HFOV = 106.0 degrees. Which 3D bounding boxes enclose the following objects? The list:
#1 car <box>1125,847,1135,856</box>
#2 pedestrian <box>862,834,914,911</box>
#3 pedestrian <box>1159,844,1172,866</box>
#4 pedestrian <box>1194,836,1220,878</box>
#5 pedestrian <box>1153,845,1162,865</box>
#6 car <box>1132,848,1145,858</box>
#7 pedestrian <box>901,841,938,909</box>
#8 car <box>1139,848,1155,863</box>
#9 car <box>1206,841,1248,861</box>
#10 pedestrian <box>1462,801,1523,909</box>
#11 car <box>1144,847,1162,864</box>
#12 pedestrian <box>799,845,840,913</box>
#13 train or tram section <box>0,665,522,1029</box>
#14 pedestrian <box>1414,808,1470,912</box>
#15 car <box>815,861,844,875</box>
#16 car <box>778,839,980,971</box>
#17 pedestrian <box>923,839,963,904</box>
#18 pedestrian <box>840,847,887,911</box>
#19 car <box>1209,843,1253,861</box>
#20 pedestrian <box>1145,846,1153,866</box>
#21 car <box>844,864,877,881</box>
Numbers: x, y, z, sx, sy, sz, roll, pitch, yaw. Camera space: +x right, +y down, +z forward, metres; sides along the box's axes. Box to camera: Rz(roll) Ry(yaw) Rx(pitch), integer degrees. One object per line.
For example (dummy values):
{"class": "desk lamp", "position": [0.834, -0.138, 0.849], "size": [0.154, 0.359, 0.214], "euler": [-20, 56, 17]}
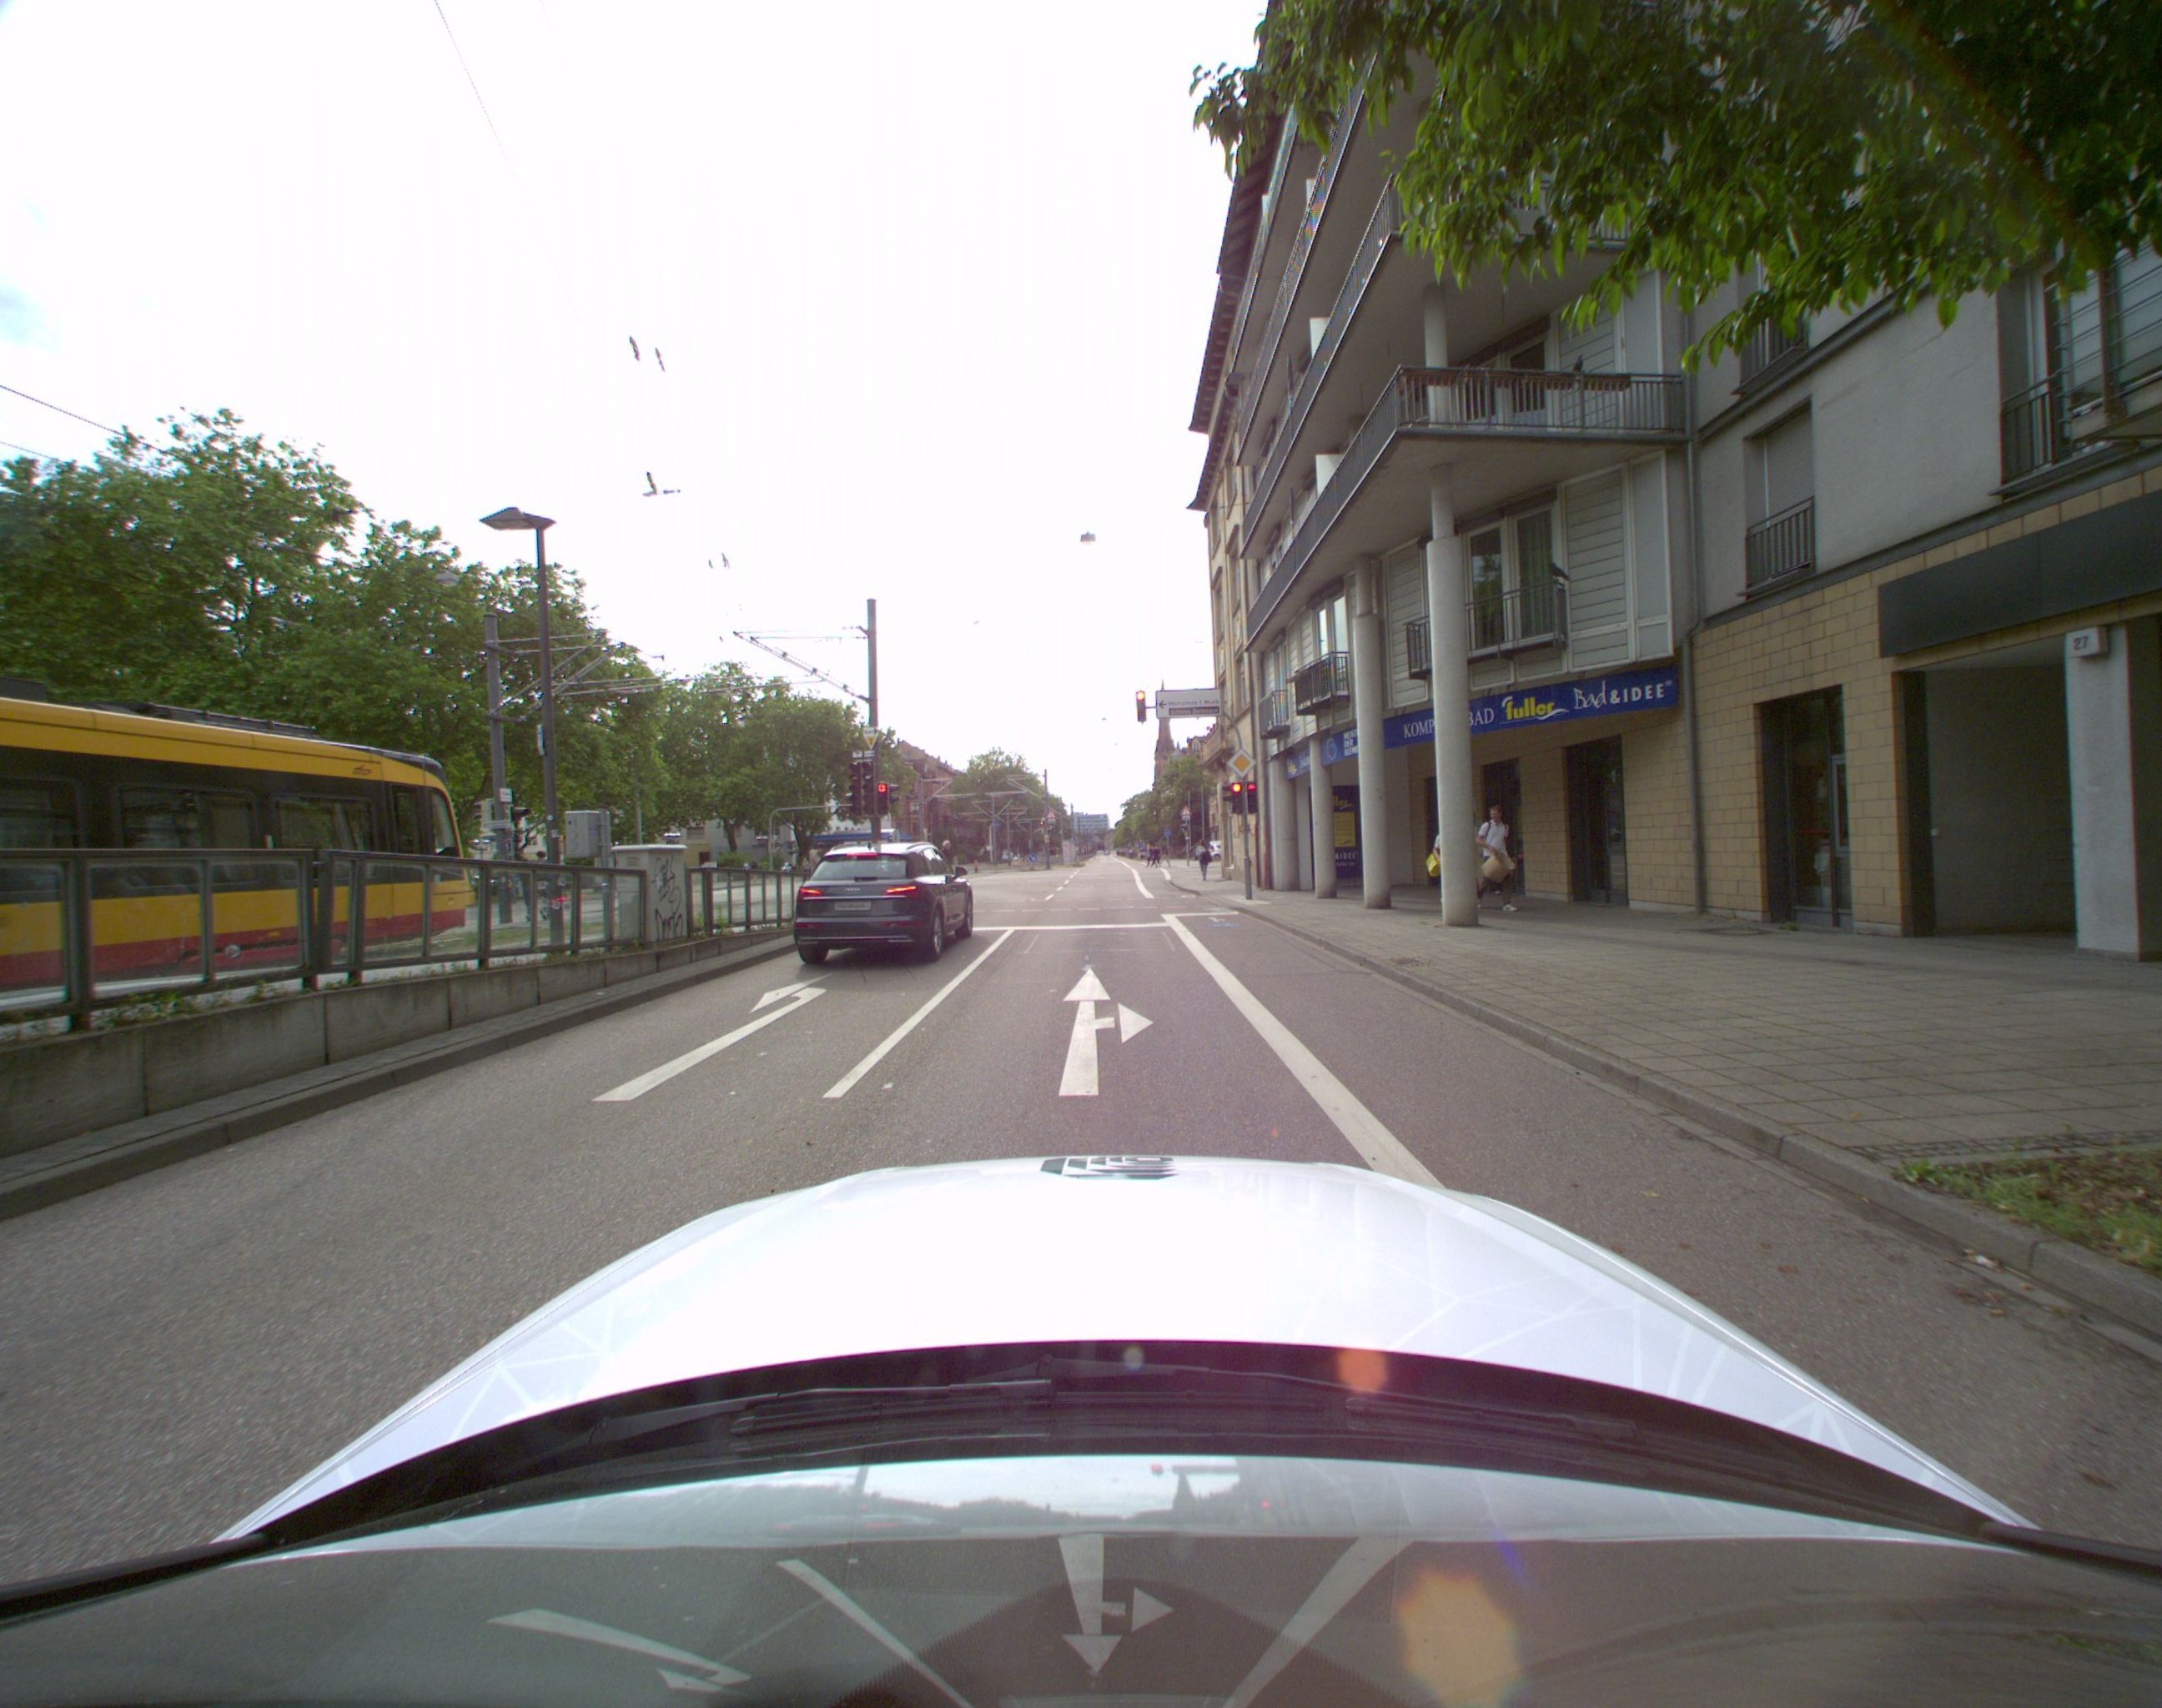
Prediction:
{"class": "car", "position": [11.017, -0.590, 183.760], "size": [1.986, 2.013, 4.001], "euler": [-1, 0, 1]}
{"class": "pedestrian", "position": [-4.596, 0.428, 19.382], "size": [1.133, 1.778, 0.625], "euler": [-2, -1, -16]}
{"class": "pedestrian", "position": [6.406, 0.050, 61.808], "size": [0.848, 1.654, 0.508], "euler": [-1, 0, -1]}
{"class": "pedestrian", "position": [5.109, 0.108, 33.048], "size": [0.663, 1.680, 0.874], "euler": [-1, 0, 40]}
{"class": "pedestrian", "position": [5.945, 0.090, 63.355], "size": [0.651, 1.537, 0.465], "euler": [-1, 0, -3]}
{"class": "car", "position": [9.803, -0.197, 139.778], "size": [1.986, 1.607, 4.165], "euler": [-4, 0, 1]}
{"class": "pedestrian", "position": [-4.016, 0.516, 20.309], "size": [0.725, 1.661, 0.756], "euler": [-1, 0, 1]}
{"class": "car", "position": [8.978, 0.189, 110.962], "size": [1.986, 2.013, 4.001], "euler": [-1, 0, 1]}
{"class": "car", "position": [14.225, -0.279, 79.475], "size": [3.785, 1.904, 2.001], "euler": [-1, 0, 1]}
{"class": "pedestrian", "position": [7.492, 0.014, 14.854], "size": [0.672, 1.890, 0.738], "euler": [-3, 0, 3]}
{"class": "car", "position": [8.983, 0.186, 101.576], "size": [1.986, 2.013, 4.001], "euler": [-1, 0, 1]}
{"class": "pedestrian", "position": [-7.133, 0.673, 22.213], "size": [1.016, 1.813, 0.580], "euler": [-1, 0, -22]}
{"class": "train or tram section", "position": [-12.196, -0.051, 7.286], "size": [3.048, 3.588, 15.854], "euler": [-1, 0, 2]}
{"class": "pedestrian", "position": [6.546, 0.107, 14.801], "size": [0.613, 1.805, 0.738], "euler": [-3, 0, 3]}
{"class": "car", "position": [-28.549, 1.590, 92.593], "size": [1.986, 1.530, 4.001], "euler": [-1, 0, 1]}
{"class": "car", "position": [-2.812, 0.640, 12.398], "size": [1.873, 1.601, 4.358], "euler": [-2, 0, 1]}
{"class": "pedestrian", "position": [-3.891, 0.477, 22.973], "size": [0.906, 1.784, 0.651], "euler": [-1, 0, 39]}
{"class": "pedestrian", "position": [-5.797, 0.655, 21.718], "size": [1.002, 1.652, 0.621], "euler": [-1, 0, -42]}
{"class": "car", "position": [13.962, -0.187, 76.067], "size": [3.785, 1.601, 2.001], "euler": [-1, 0, 1]}
{"class": "pedestrian", "position": [5.310, 0.149, 63.895], "size": [0.544, 1.537, 0.465], "euler": [-1, 0, -3]}
{"class": "car", "position": [-19.114, 1.602, 70.817], "size": [1.628, 1.325, 4.001], "euler": [-1, 0, 1]}
